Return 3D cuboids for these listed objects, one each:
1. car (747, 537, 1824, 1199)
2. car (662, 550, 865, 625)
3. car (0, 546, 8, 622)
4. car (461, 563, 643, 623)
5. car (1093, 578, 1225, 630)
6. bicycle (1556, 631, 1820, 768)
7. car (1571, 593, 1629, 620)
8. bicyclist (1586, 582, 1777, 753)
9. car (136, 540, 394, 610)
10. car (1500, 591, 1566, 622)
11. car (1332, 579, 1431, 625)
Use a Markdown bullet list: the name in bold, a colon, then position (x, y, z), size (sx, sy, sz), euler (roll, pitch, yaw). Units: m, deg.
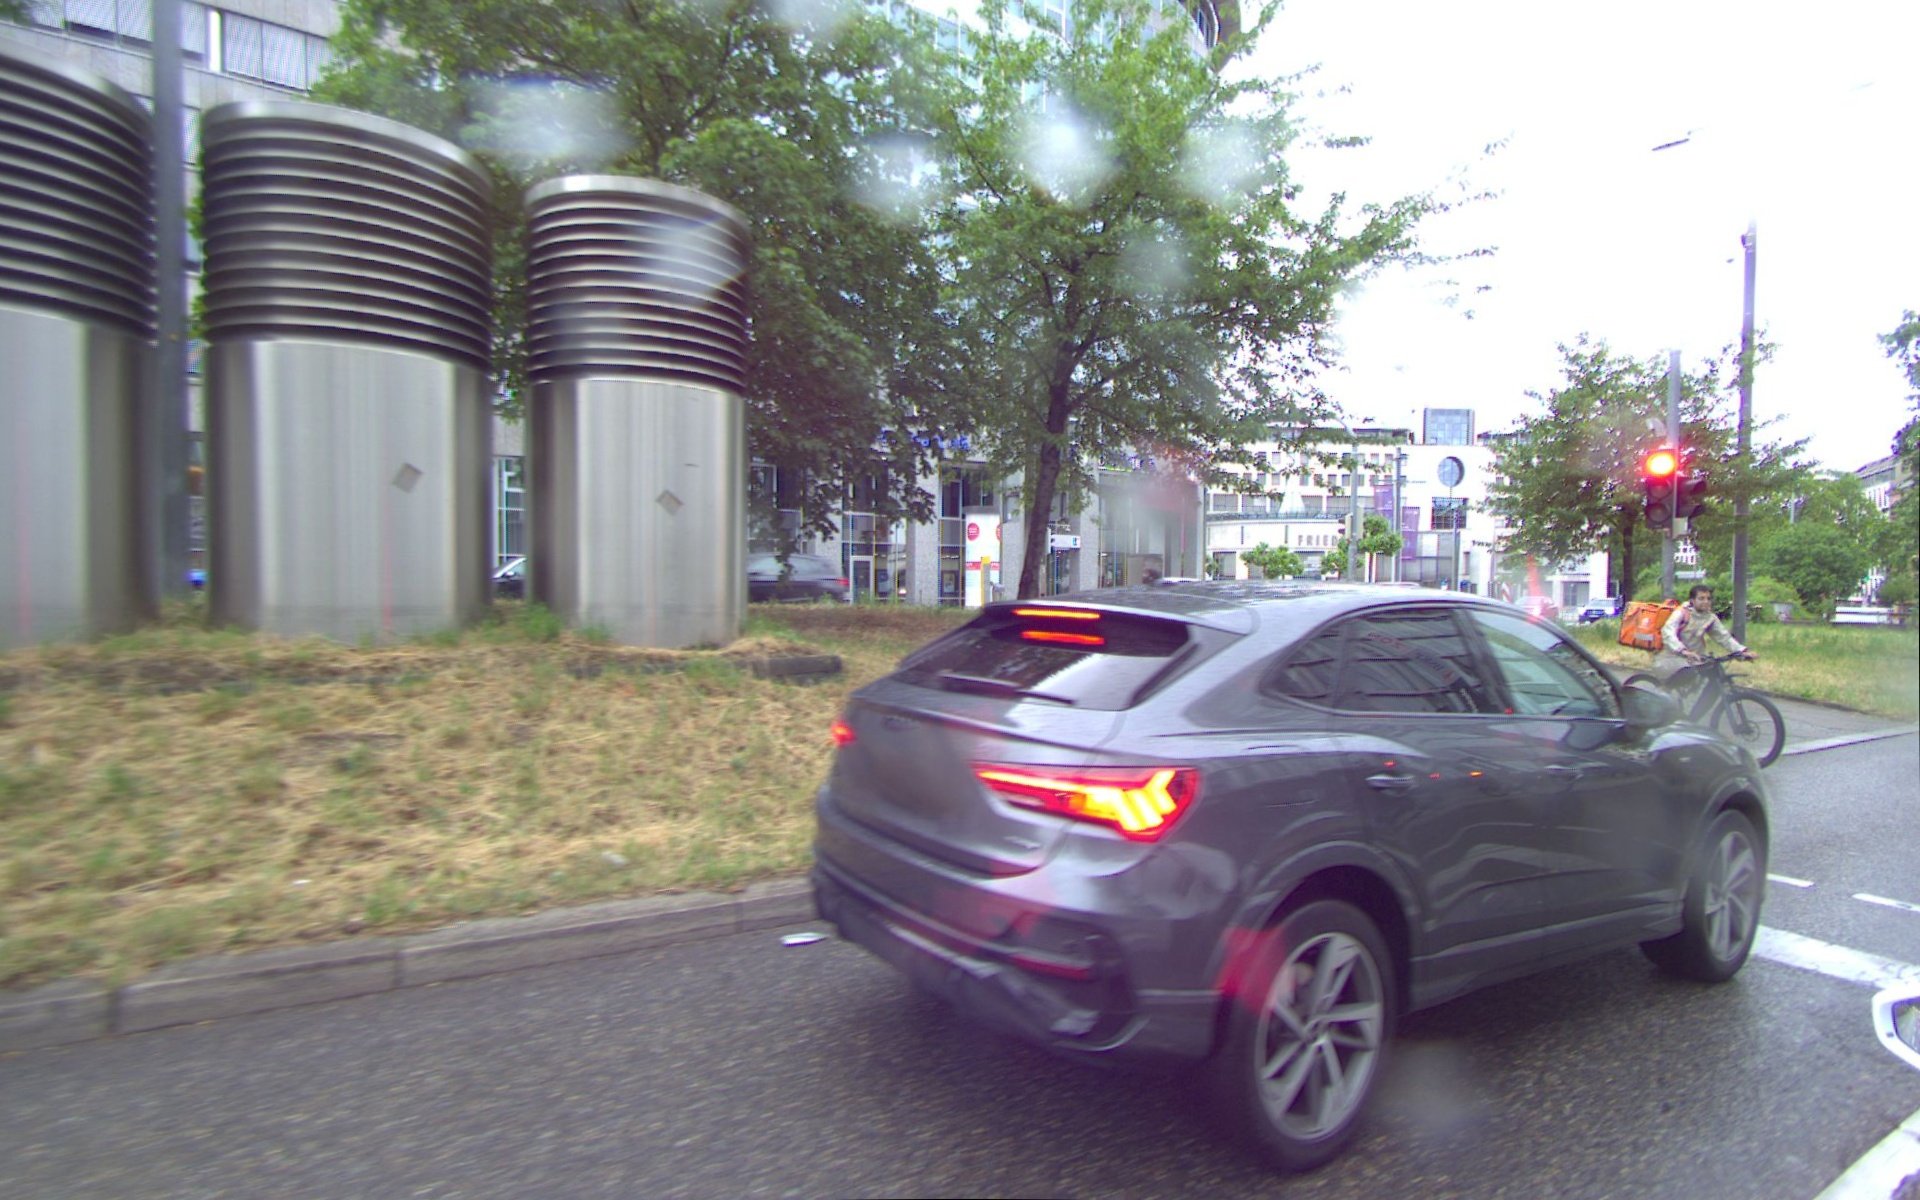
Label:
- **car**: position (1.486, 0.668, 4.010), size (4.206, 1.638, 1.837), euler (0, 2, -33)
- **car**: position (-4.246, -0.257, 21.952), size (3.966, 1.495, 1.852), euler (1, 1, -39)
- **car**: position (-19.692, -0.296, 17.211), size (4.635, 1.420, 1.765), euler (0, 1, -34)
- **car**: position (-10.261, -0.167, 25.353), size (3.977, 1.420, 1.763), euler (0, 1, -36)
- **car**: position (6.246, 0.124, 31.354), size (4.157, 1.495, 1.805), euler (1, 1, -39)
- **bicycle**: position (7.389, 0.963, 10.366), size (0.993, 1.129, 2.064), euler (3, 1, -9)
- **car**: position (40.050, 0.420, 62.808), size (4.347, 1.506, 1.789), euler (1, 3, -40)
- **bicyclist**: position (7.390, 0.662, 10.356), size (0.997, 1.603, 1.134), euler (2, 3, -9)
- **car**: position (-14.897, -0.495, 21.734), size (4.435, 1.343, 1.878), euler (1, 1, -37)
- **car**: position (30.097, 0.343, 52.724), size (3.971, 1.506, 1.788), euler (1, 3, -43)
- **car**: position (17.035, 0.084, 40.495), size (4.544, 1.750, 1.710), euler (1, 1, -39)
